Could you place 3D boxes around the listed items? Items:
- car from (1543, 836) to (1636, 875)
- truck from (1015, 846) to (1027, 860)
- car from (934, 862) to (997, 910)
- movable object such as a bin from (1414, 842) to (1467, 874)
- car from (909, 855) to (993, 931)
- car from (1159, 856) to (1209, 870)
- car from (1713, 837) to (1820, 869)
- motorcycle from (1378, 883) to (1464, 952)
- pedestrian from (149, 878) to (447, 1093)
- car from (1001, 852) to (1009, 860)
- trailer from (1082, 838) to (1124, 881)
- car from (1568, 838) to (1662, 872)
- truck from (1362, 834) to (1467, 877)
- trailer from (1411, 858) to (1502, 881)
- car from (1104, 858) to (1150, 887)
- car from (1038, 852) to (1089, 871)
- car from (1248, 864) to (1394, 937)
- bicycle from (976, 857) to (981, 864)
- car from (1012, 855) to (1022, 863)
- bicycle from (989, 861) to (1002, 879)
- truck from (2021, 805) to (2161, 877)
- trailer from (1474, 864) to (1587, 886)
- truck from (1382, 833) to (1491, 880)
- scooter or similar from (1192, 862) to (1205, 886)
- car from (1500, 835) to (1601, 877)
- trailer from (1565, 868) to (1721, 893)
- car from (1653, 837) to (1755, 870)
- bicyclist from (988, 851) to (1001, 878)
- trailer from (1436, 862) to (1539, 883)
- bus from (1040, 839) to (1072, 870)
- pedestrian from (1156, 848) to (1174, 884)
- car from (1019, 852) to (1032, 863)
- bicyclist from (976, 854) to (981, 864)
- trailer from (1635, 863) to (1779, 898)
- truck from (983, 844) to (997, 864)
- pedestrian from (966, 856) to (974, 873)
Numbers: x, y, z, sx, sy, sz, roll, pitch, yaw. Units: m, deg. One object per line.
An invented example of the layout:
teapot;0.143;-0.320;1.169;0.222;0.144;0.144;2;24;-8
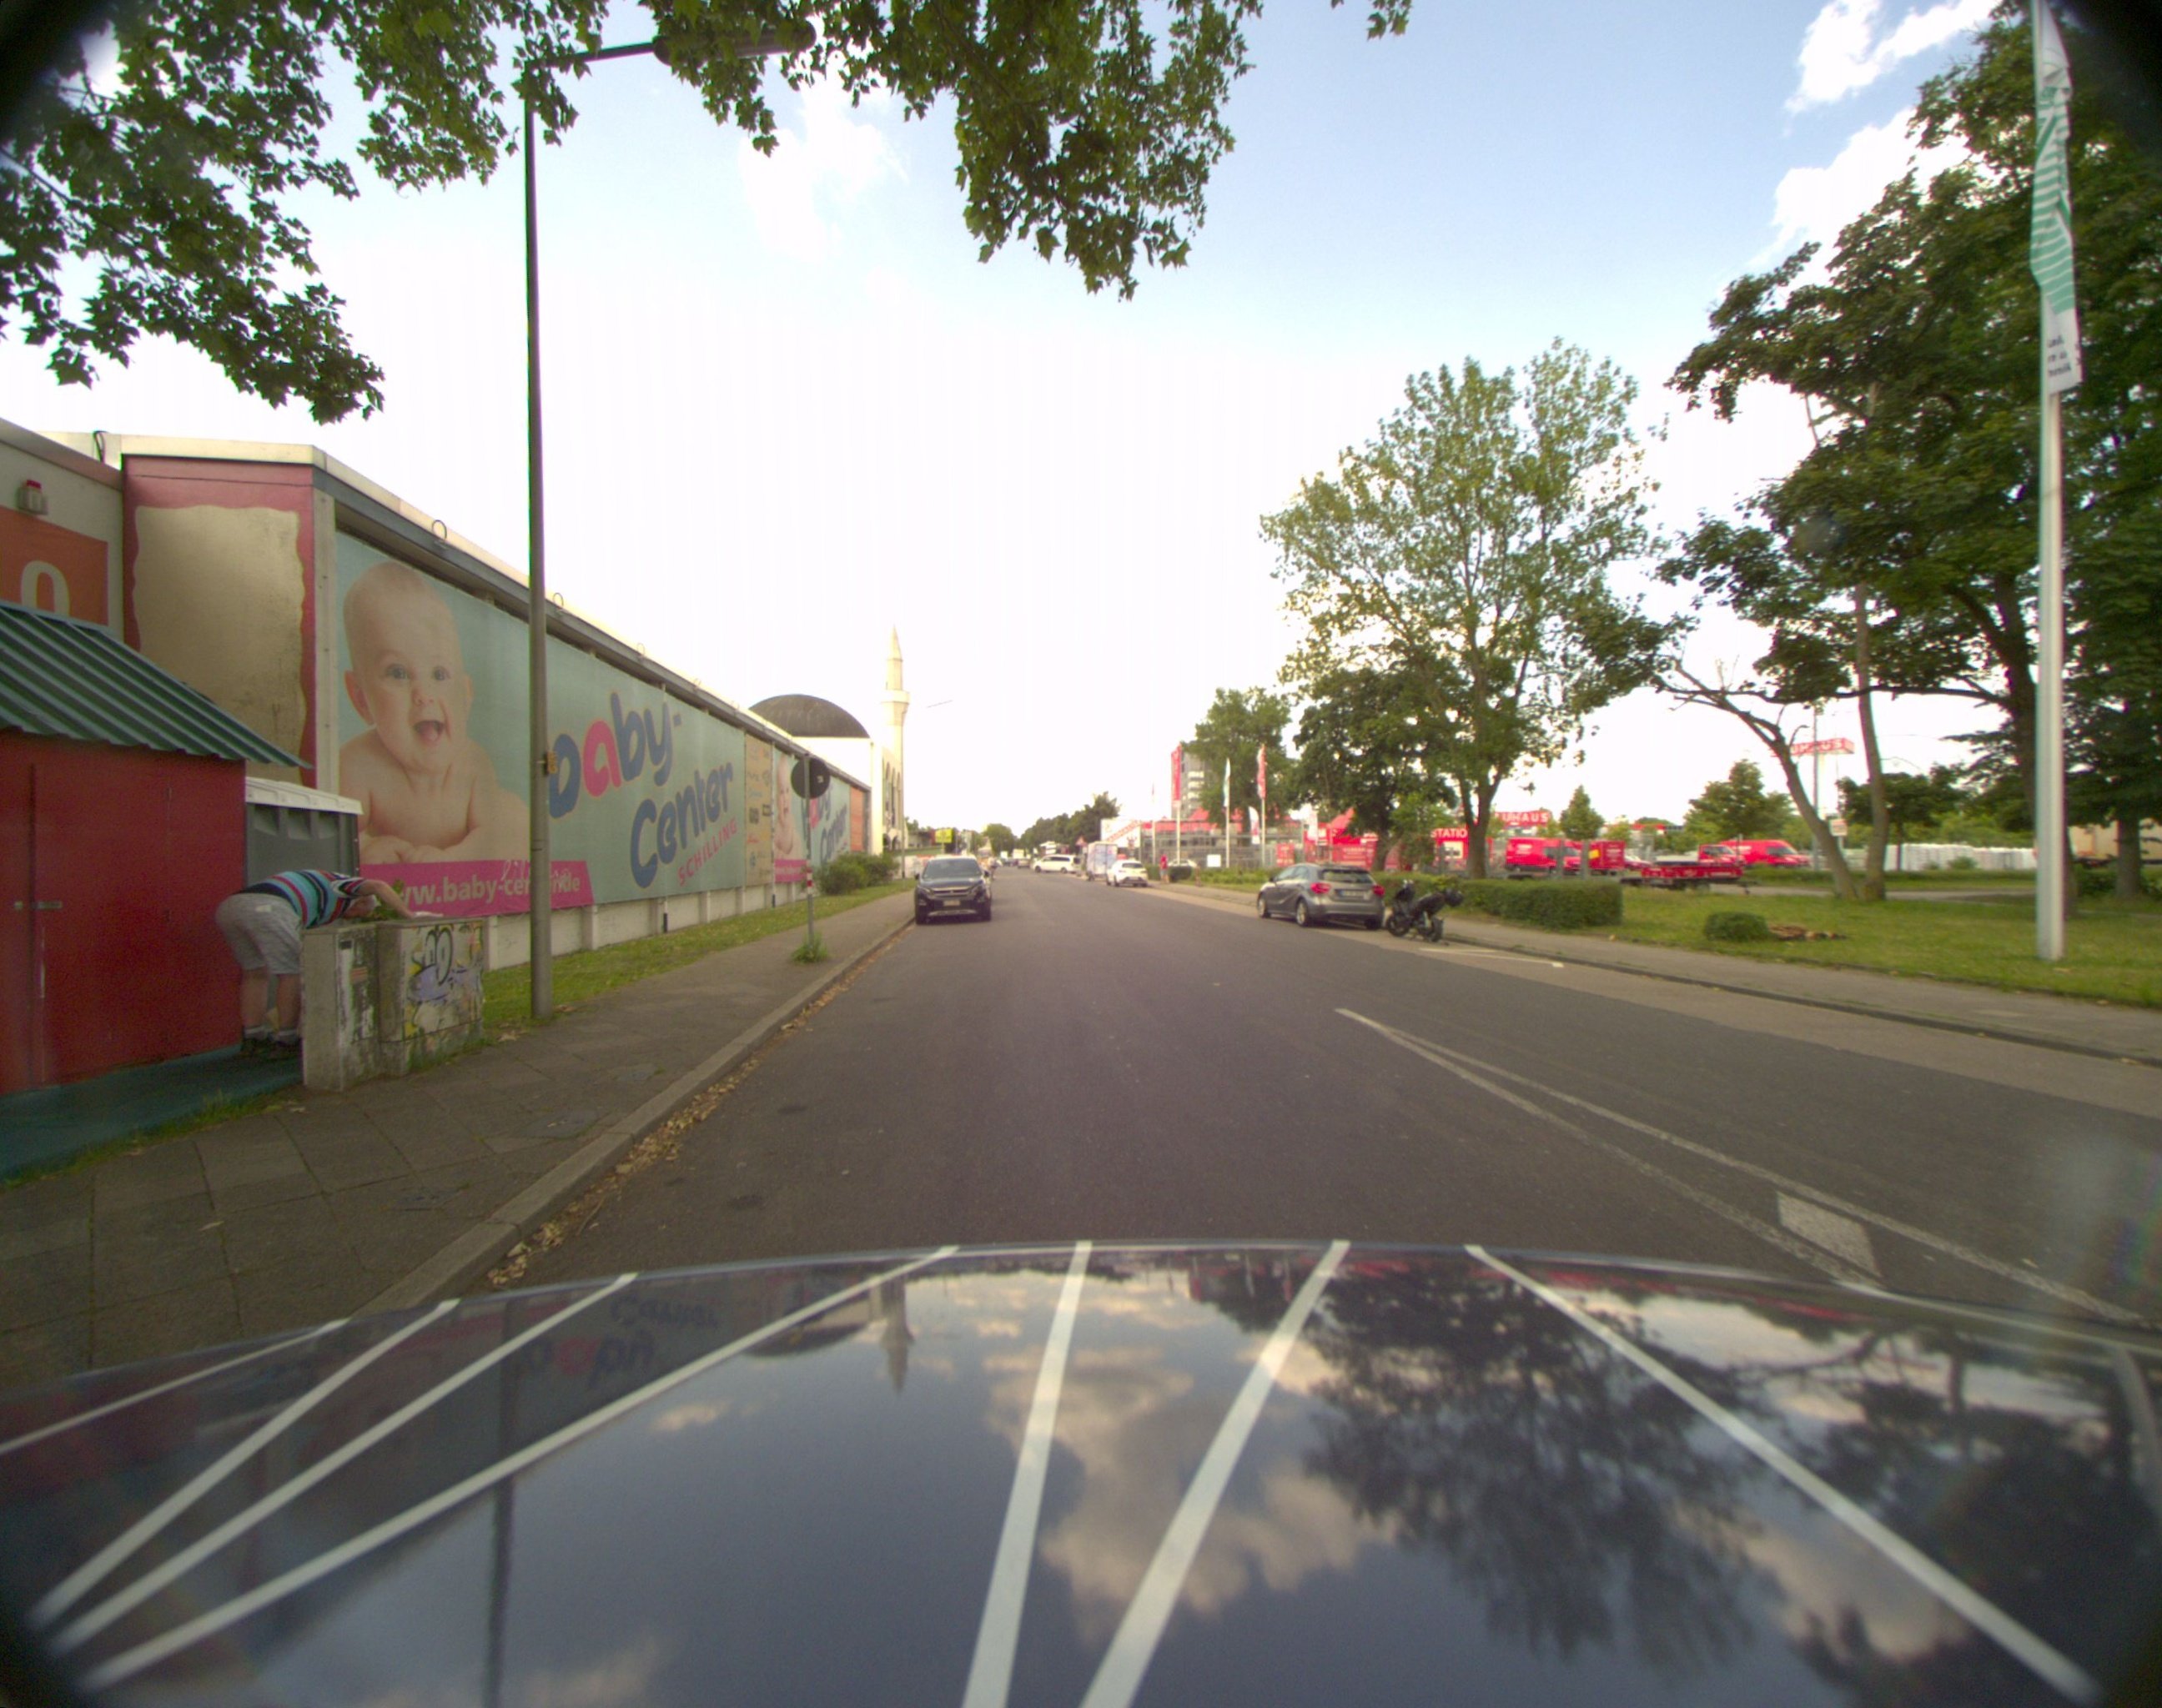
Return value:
car;35.723;0.015;53.599;2.273;2.579;5.718;-1;2;-6
truck;-16.202;-0.346;203.629;2.756;3.701;7.166;1;0;-7
car;-3.927;1.045;26.387;1.813;1.383;4.585;-3;0;-5
movable object such as a bin;26.554;0.291;56.294;2.000;2.262;3.543;0;0;-6
car;-3.309;0.894;19.848;1.814;1.656;4.636;-3;0;-8
car;10.467;0.916;77.460;4.698;1.445;1.953;0;0;-6
car;55.200;-0.146;61.403;2.273;2.402;6.432;-1;2;-7
motorcycle;6.379;1.168;14.366;0.623;1.132;1.801;3;0;-6
pedestrian;-5.280;0.839;5.217;1.016;1.306;0.964;-1;1;1
car;-18.797;0.575;188.635;1.798;1.881;3.997;0;0;-7
trailer;1.472;0.378;53.070;2.146;2.767;4.700;2;0;-7
car;41.656;-0.006;59.520;2.273;2.402;6.432;-1;2;-7
truck;20.684;0.086;47.253;5.771;2.579;1.814;0;2;-5
trailer;20.541;0.810;41.639;4.248;1.114;1.670;-1;2;-8
car;2.515;0.985;42.468;1.771;1.470;4.232;2;0;-8
car;-1.828;0.778;78.220;5.003;1.938;1.996;0;0;32
car;5.527;1.014;18.117;1.715;1.411;4.329;2;0;-5
bicycle;-20.563;1.351;152.912;0.794;1.287;1.881;3;0;-5
car;-11.379;0.844;134.838;1.596;1.456;3.759;1;0;-7
bicycle;-5.930;1.090;52.412;0.800;1.173;2.625;-2;1;-7
truck;59.778;-0.780;43.722;8.349;3.927;2.985;-1;2;-6
trailer;21.180;0.973;35.881;4.248;0.908;2.021;-1;2;-8
truck;20.547;0.113;44.028;5.564;2.579;1.778;-1;2;-6
scooter or similar;6.028;1.022;38.988;0.518;1.186;1.280;-1;1;5
car;31.417;0.067;51.142;2.273;2.579;6.432;-1;2;-6
trailer;22.140;1.032;30.074;4.607;0.907;2.187;0;0;-2
car;49.141;-0.080;60.158;2.273;2.402;6.432;-1;2;-7
bicyclist;-5.948;0.731;52.403;0.809;1.782;1.206;-2;1;-7
trailer;20.940;0.942;39.259;4.248;0.908;2.157;-1;2;-8
bus;-3.175;0.054;92.159;2.671;3.402;13.209;3;0;-7
pedestrian;4.750;0.650;42.815;0.812;2.002;0.884;-1;1;-7
car;-7.795;0.527;106.340;1.596;1.456;3.759;1;0;-7
bicyclist;-20.575;1.036;152.916;0.797;1.899;0.828;3;0;-5
trailer;22.550;0.929;27.470;3.827;1.184;1.715;0;0;-1
truck;-19.675;0.073;164.136;2.787;4.092;8.273;-3;0;-7
pedestrian;-10.097;0.958;69.022;0.683;1.525;1.129;-1;1;-9
